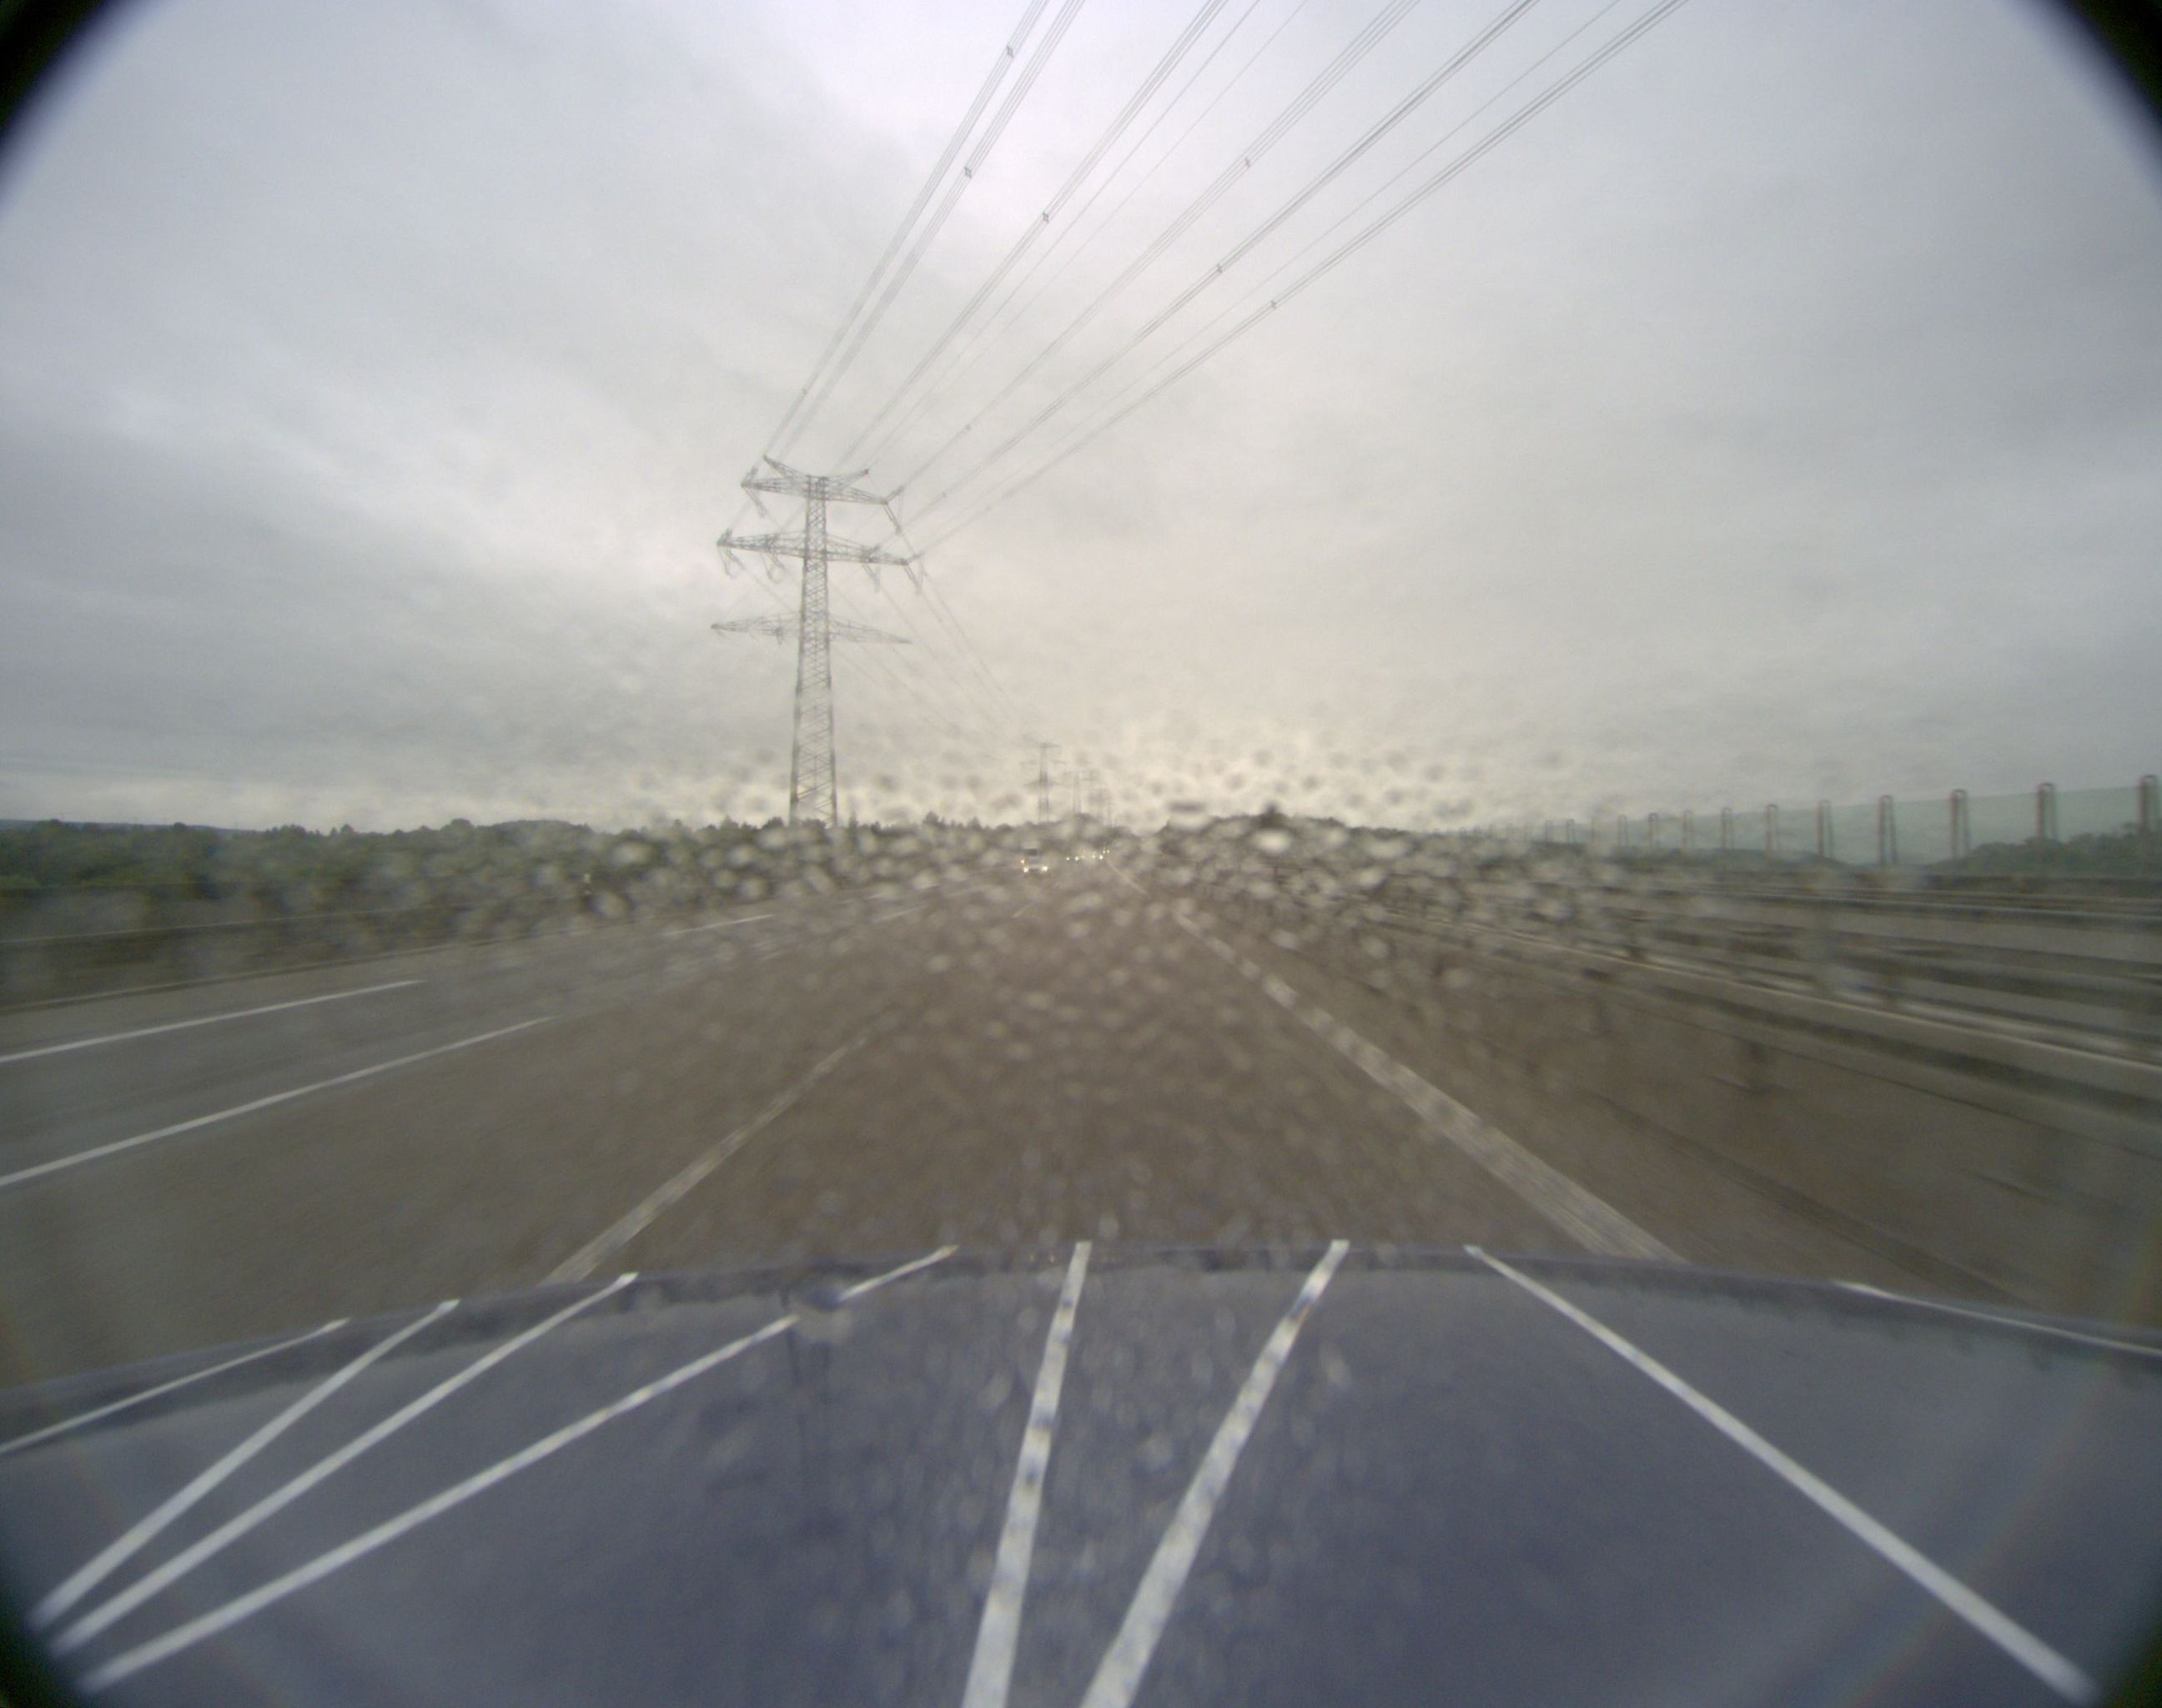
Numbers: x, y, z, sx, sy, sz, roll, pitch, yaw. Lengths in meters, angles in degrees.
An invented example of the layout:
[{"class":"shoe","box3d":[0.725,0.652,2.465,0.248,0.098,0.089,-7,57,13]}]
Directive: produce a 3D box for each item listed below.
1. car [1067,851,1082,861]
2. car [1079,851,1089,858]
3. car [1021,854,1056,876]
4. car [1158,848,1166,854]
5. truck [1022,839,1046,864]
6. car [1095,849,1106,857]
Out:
[{"class":"car","box3d":[-1.005,0.363,116.368,1.998,1.418,4.000,-2,1,2]},{"class":"car","box3d":[0.574,0.042,159.121,1.856,1.418,4.000,-2,1,2]},{"class":"car","box3d":[-2.969,0.738,53.952,1.998,1.418,4.000,-2,1,2]},{"class":"car","box3d":[23.876,-0.887,223.971,1.998,1.620,4.713,0,1,1]},{"class":"truck","box3d":[-6.502,-0.347,106.079,2.649,3.325,6.931,-2,1,2]},{"class":"car","box3d":[3.865,-0.164,147.464,1.998,1.418,4.000,-2,1,2]}]
